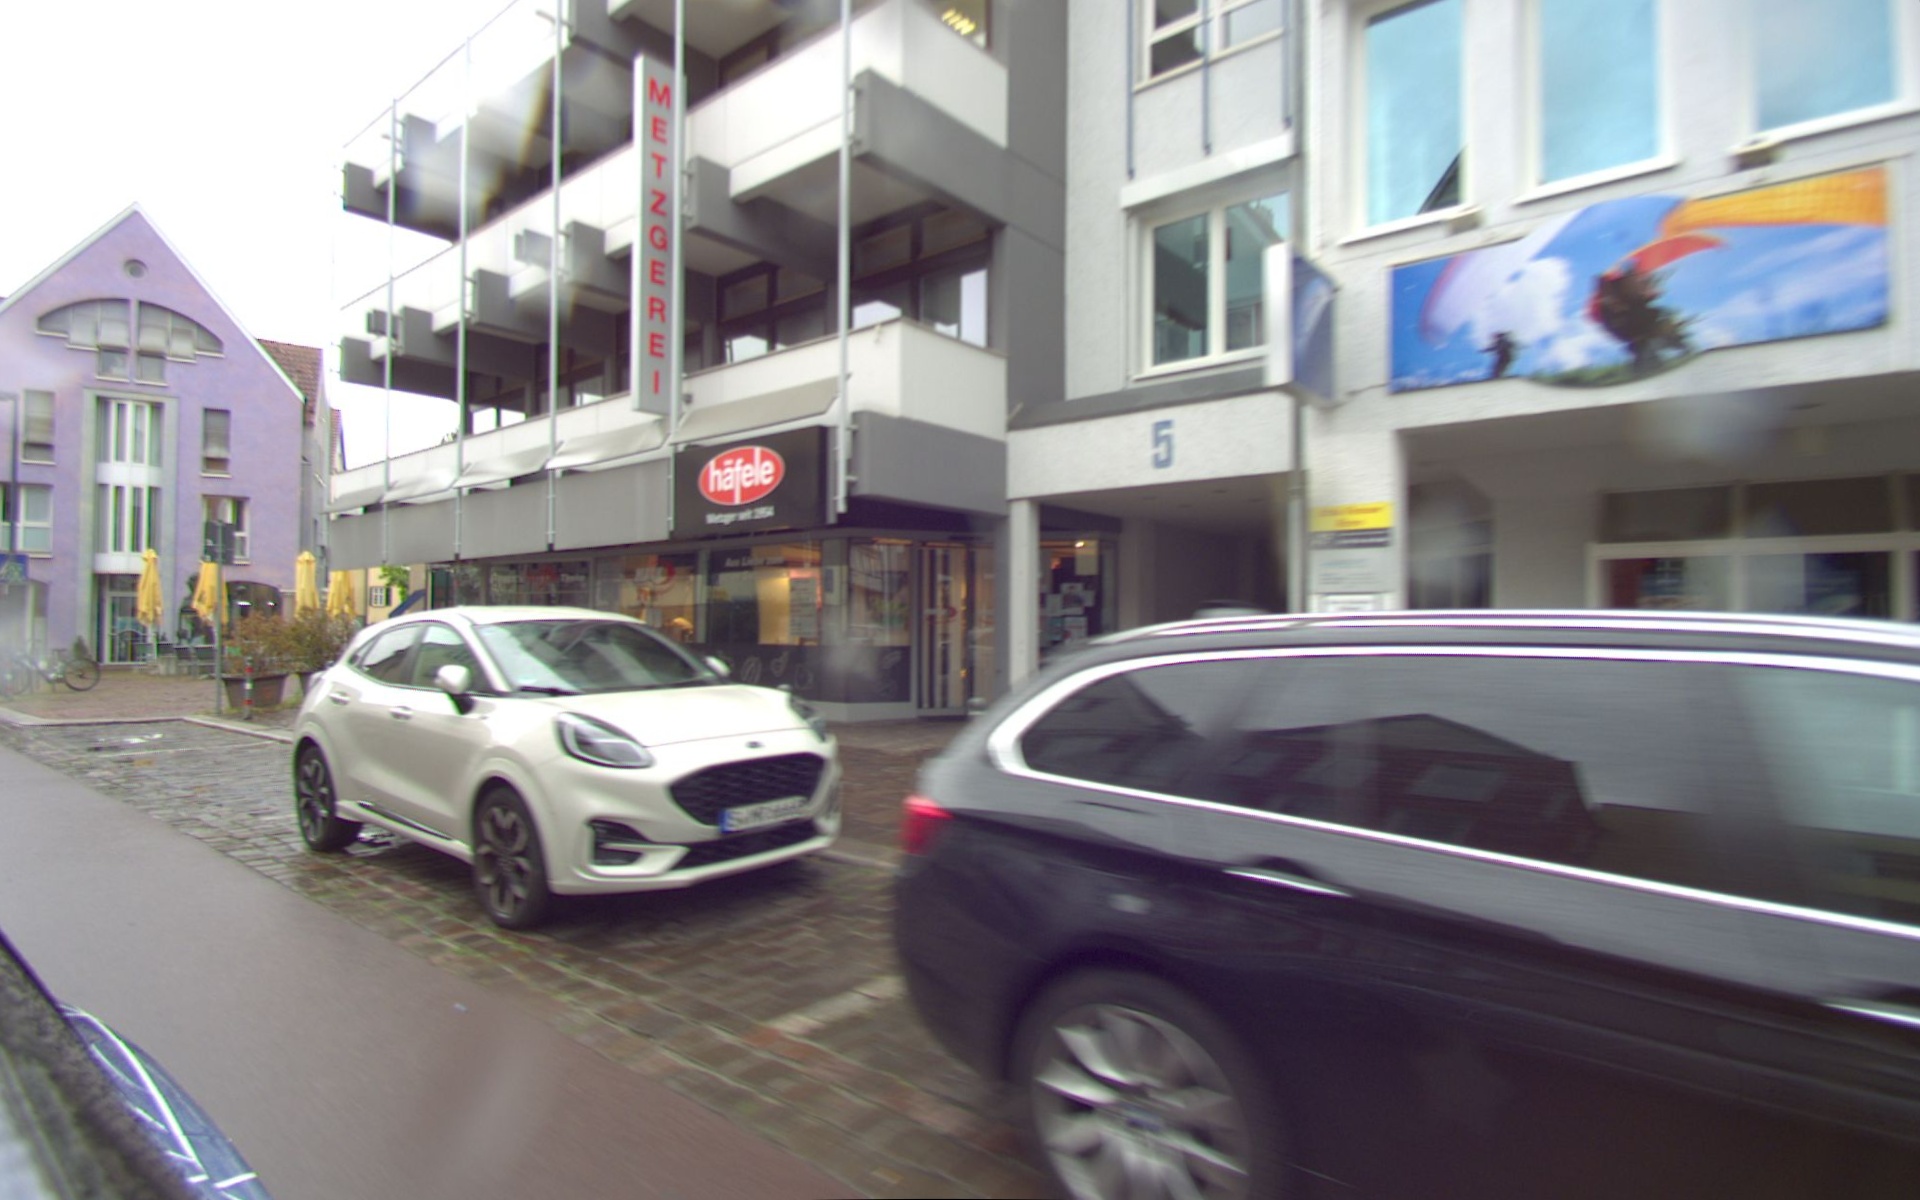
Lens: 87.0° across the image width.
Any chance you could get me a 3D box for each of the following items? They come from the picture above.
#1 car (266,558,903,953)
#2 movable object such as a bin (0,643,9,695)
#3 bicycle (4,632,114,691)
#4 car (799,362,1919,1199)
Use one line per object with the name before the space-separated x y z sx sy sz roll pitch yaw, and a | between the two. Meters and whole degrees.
car | -2.407 0.638 5.990 3.997 1.562 1.773 0 -2 40
movable object such as a bin | -19.630 1.385 20.241 0.628 1.028 0.683 -1 -1 23
bicycle | -19.247 1.289 21.662 0.441 1.173 1.740 1 0 20
car | 1.927 0.467 1.948 4.761 1.510 1.811 -1 -3 42
